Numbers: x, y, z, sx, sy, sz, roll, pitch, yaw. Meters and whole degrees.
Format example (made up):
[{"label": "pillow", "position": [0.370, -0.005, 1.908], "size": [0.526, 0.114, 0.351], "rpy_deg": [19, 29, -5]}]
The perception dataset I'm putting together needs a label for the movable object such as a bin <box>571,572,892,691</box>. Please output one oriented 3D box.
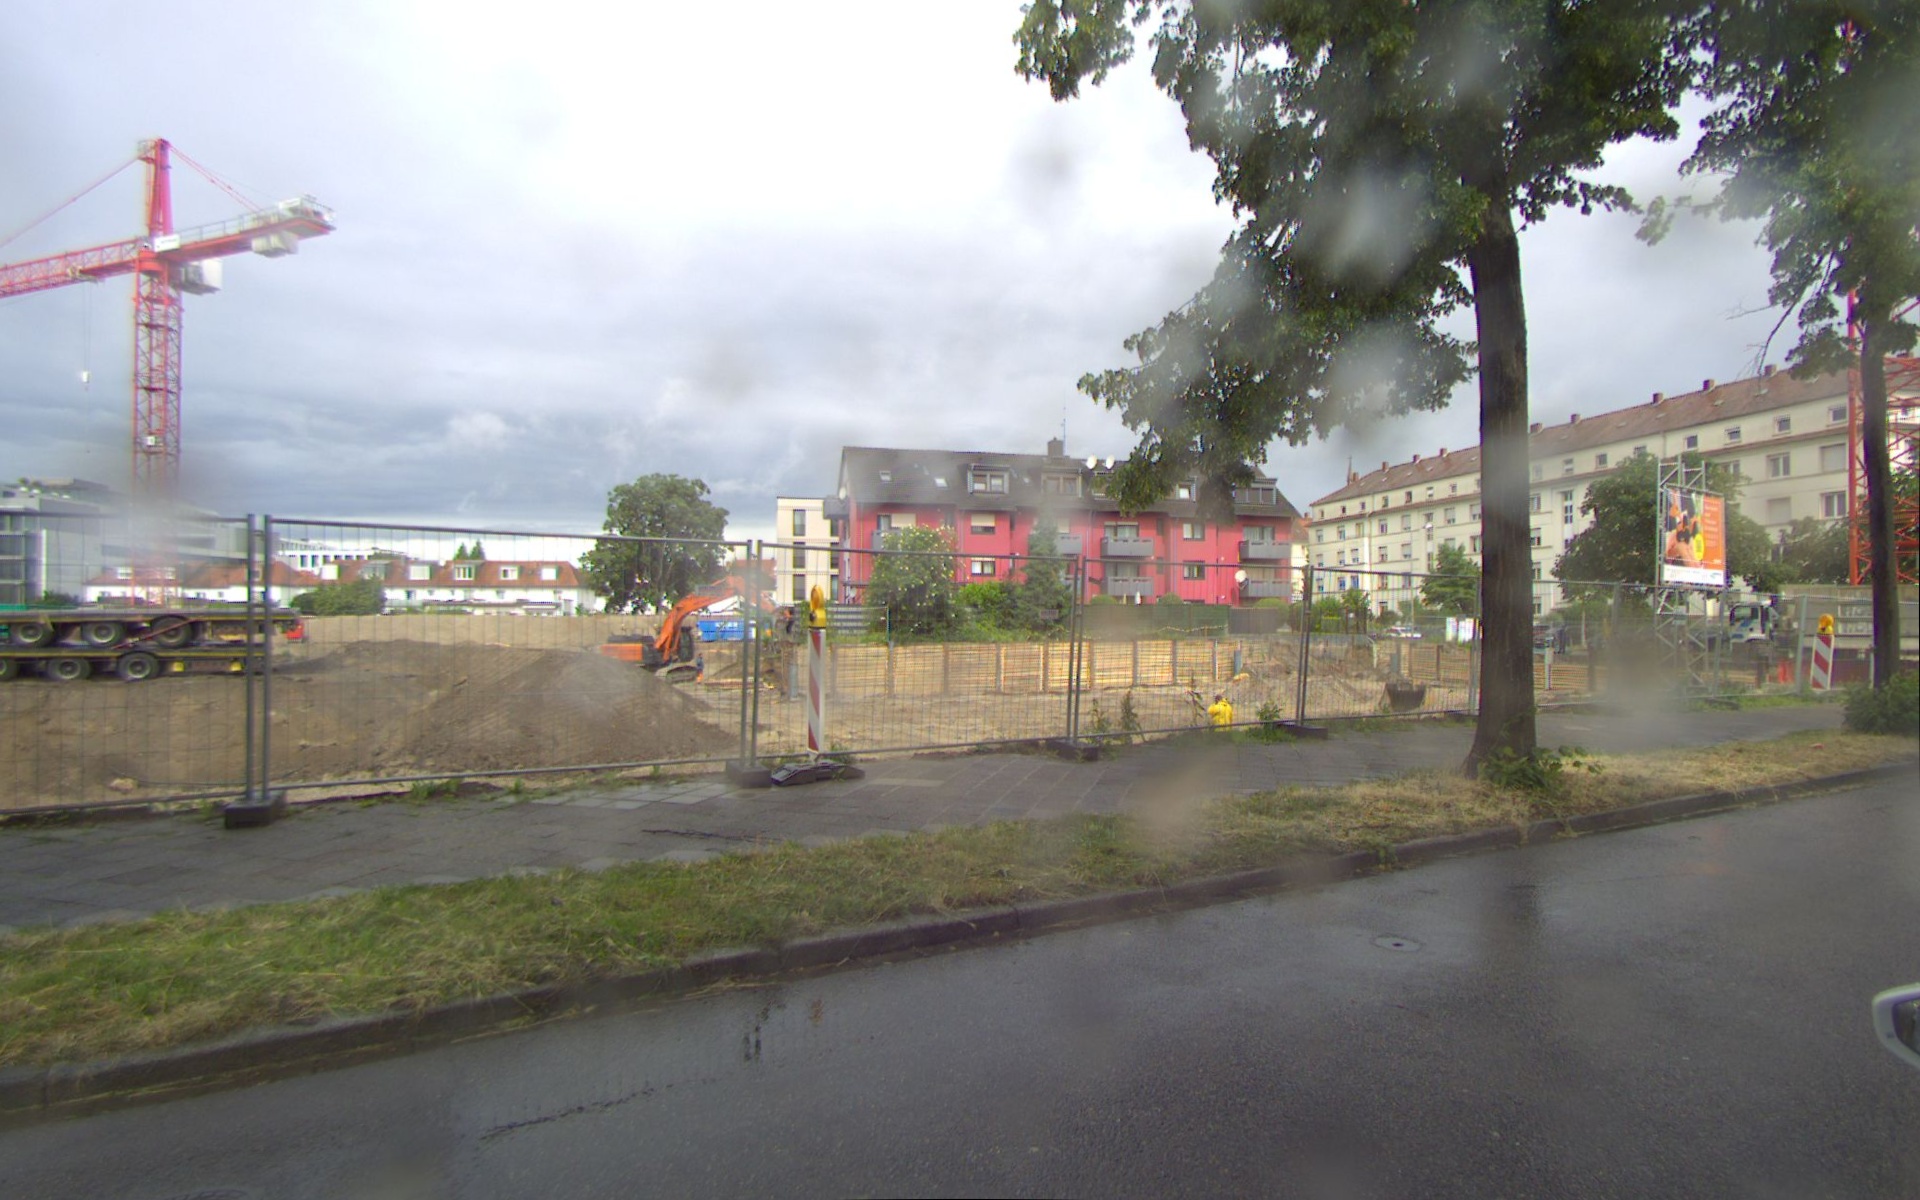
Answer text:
[{"label": "movable object such as a bin", "position": [-12.098, 1.629, 55.857], "size": [16.430, 6.125, 6.885], "rpy_deg": [0, 0, -6]}]
